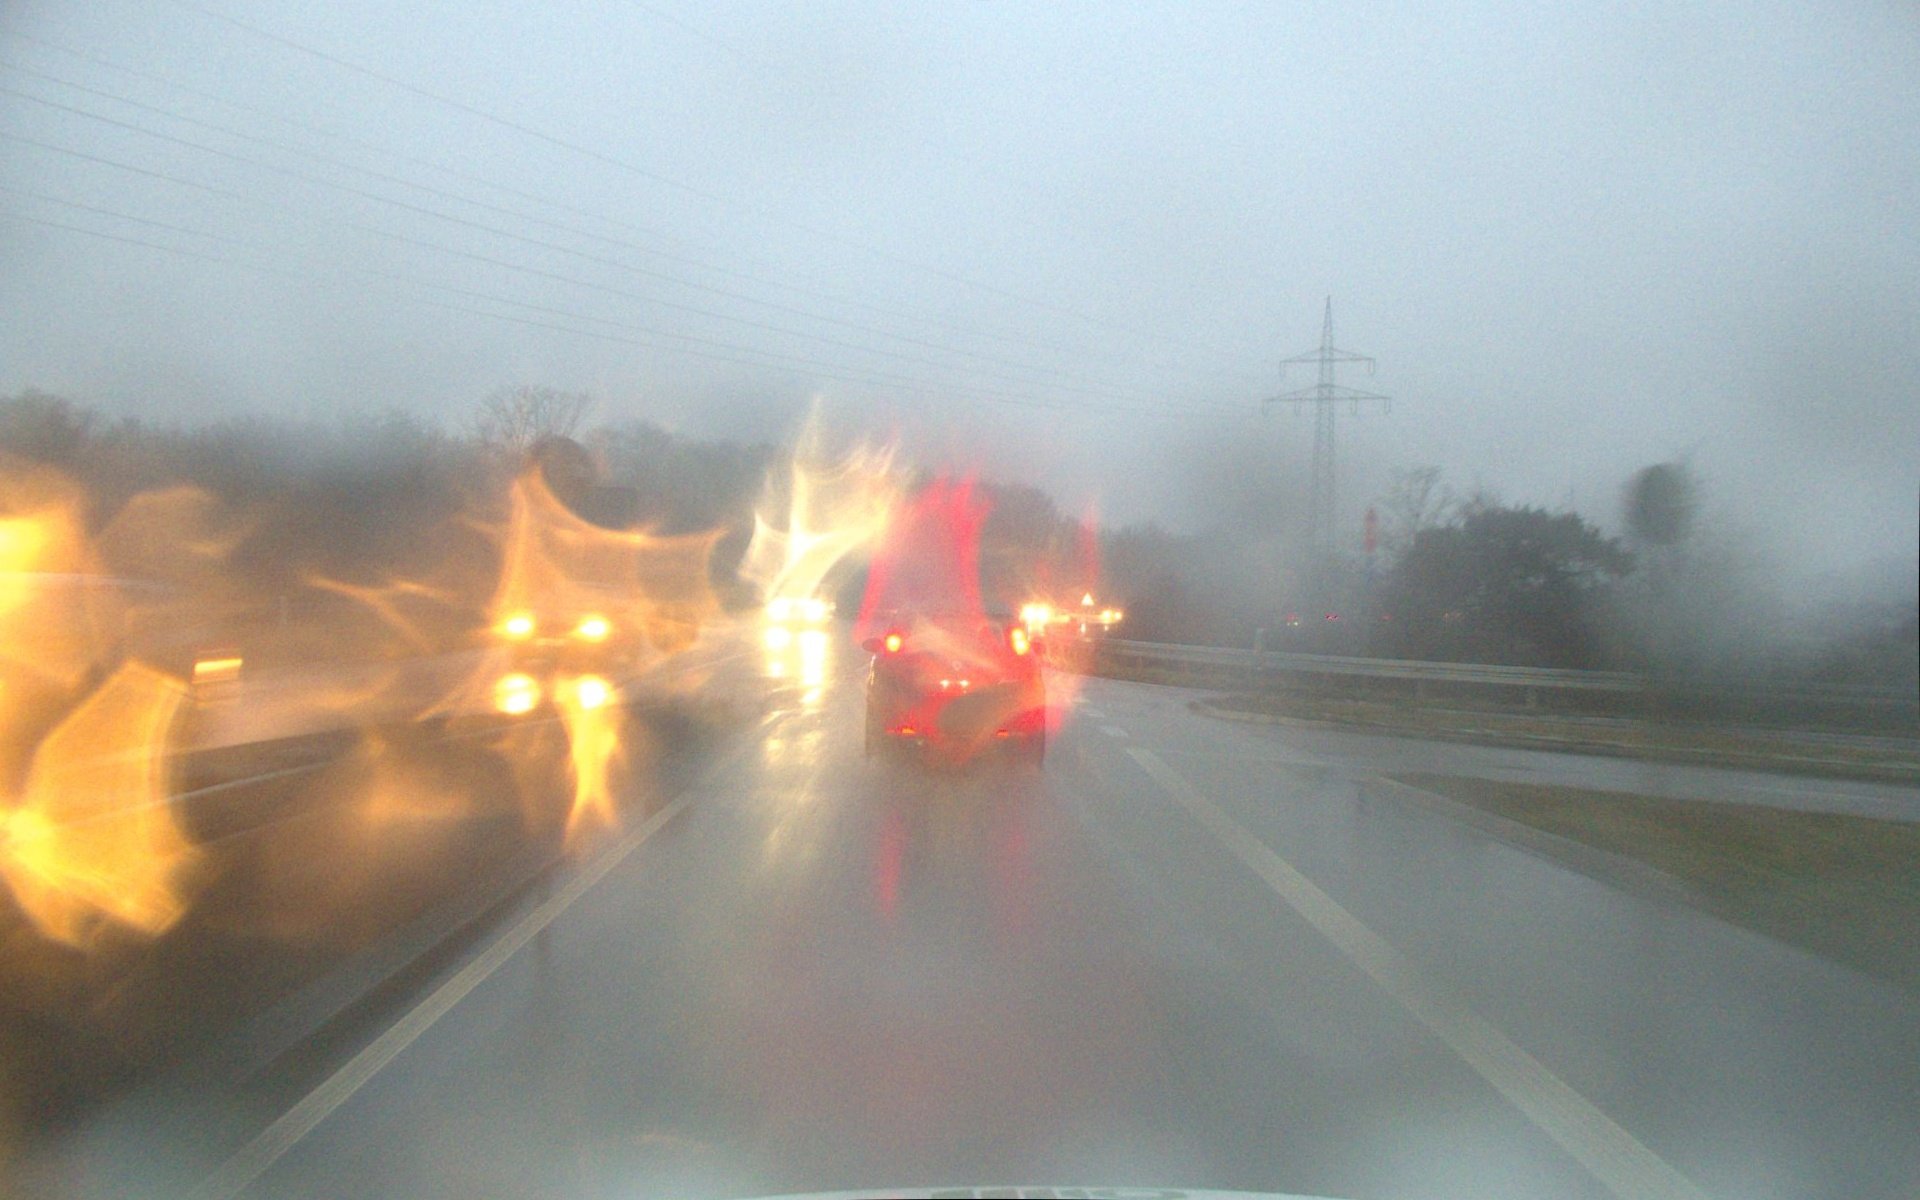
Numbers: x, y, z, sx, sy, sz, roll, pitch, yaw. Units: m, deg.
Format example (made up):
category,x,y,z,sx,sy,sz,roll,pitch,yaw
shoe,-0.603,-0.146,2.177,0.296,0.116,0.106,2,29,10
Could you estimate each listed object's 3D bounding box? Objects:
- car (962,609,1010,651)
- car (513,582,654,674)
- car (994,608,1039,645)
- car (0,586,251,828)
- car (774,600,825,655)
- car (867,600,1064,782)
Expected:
category,x,y,z,sx,sy,sz,roll,pitch,yaw
car,1.214,1.352,75.440,1.905,1.775,4.001,3,0,3
car,-6.682,0.473,29.719,1.613,1.527,4.000,0,0,0
car,3.190,1.492,92.956,1.906,1.774,4.003,7,0,8
car,-6.981,0.660,11.934,1.953,1.498,4.470,0,0,-3
car,-6.494,1.080,67.370,1.834,2.175,5.177,0,0,-3
car,0.042,0.793,16.366,1.695,1.559,4.042,0,0,0
